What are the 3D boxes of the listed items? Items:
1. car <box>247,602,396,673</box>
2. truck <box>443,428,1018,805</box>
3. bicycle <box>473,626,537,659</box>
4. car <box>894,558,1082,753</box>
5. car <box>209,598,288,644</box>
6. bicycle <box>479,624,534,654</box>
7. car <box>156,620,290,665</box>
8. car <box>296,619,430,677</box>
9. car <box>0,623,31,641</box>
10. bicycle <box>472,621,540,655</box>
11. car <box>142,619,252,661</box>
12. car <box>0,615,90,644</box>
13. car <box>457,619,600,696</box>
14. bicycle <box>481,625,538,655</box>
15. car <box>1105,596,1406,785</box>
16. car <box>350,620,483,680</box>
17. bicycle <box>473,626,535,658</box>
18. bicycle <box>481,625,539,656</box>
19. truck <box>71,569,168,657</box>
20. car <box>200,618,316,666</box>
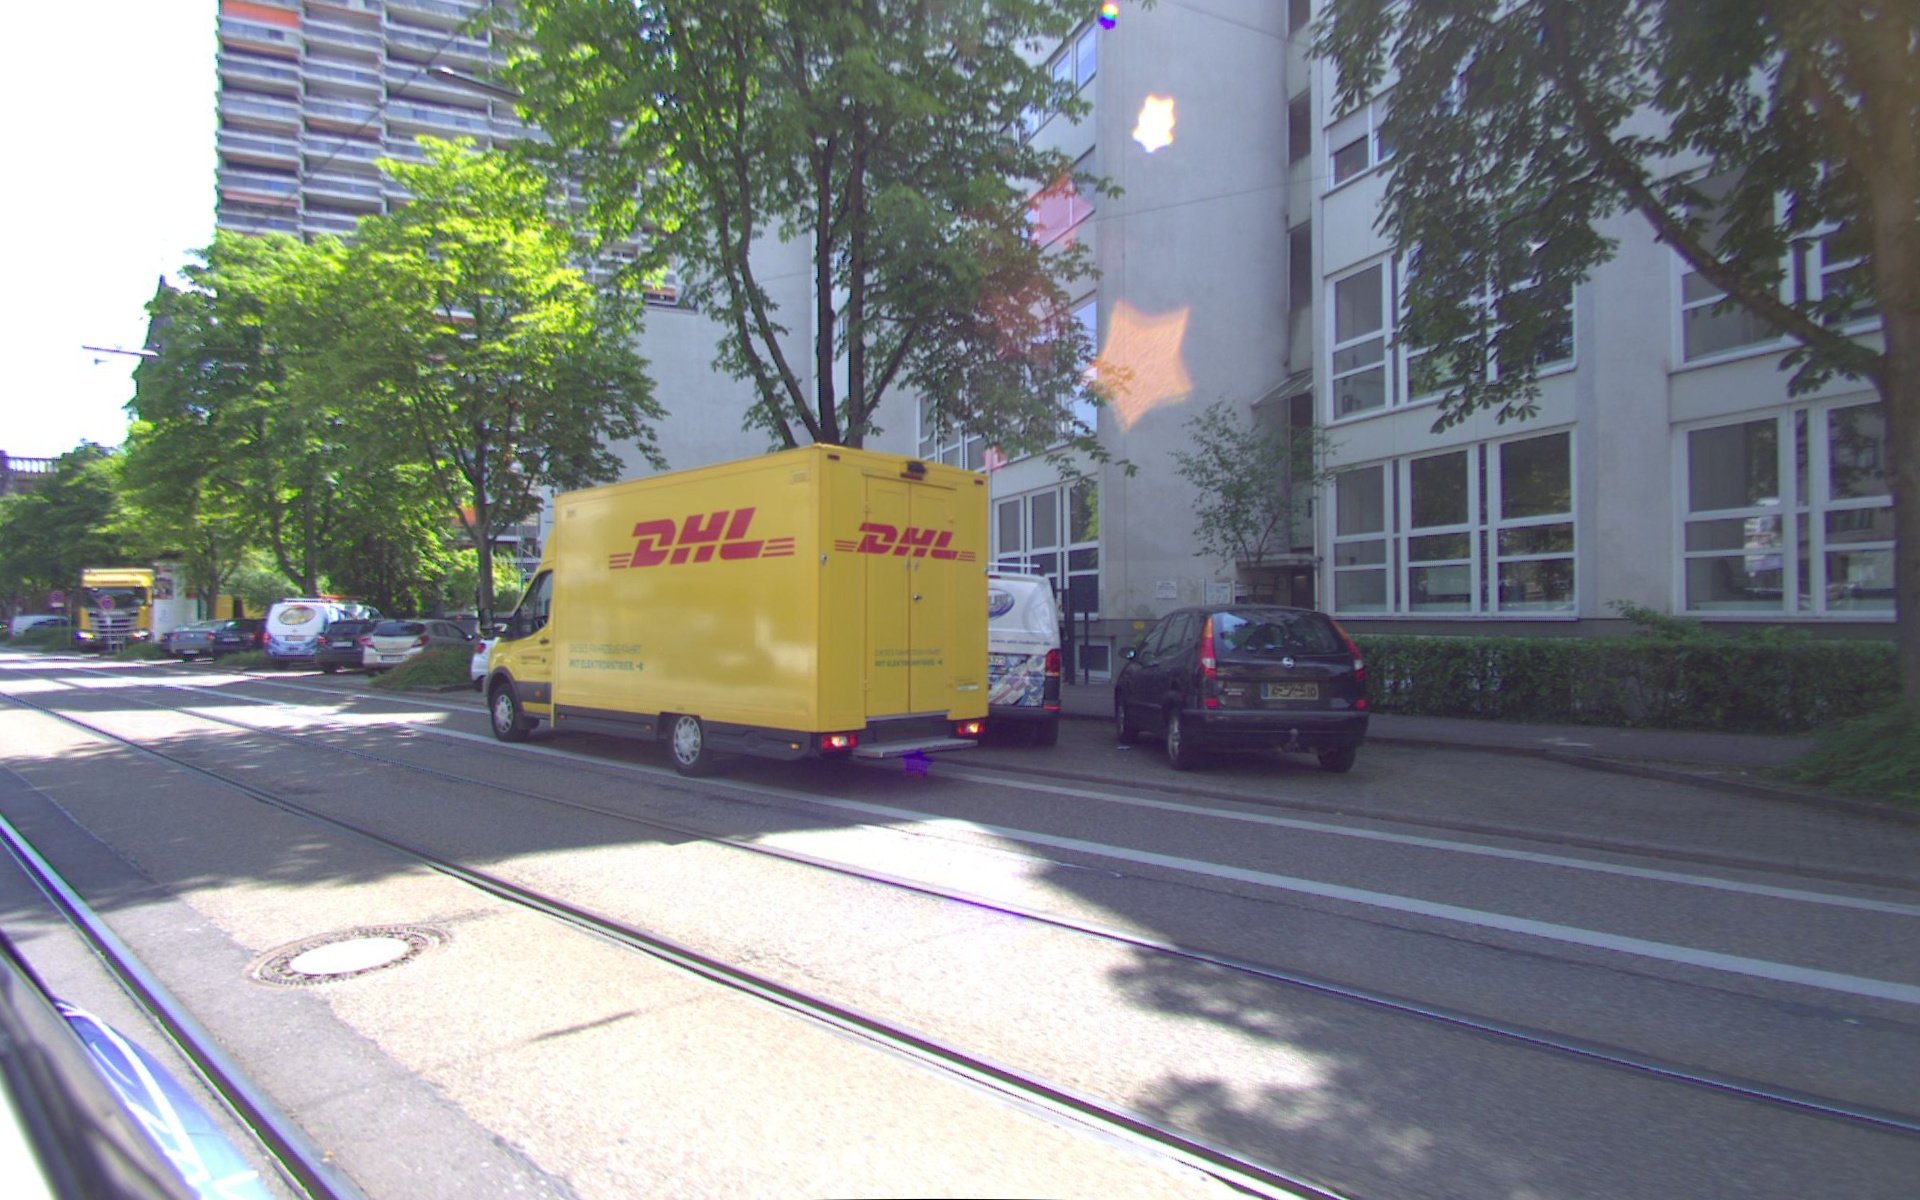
[{"bbox_3d":[-19.124,1.132,30.599,1.892,1.949,4.763,1,-2,-7],"label":"car"},{"bbox_3d":[-2.966,0.227,11.079,7.376,2.874,2.335,-2,-2,42],"label":"truck"},{"bbox_3d":[-16.704,1.544,37.177,2.099,1.083,0.559,-2,0,-24],"label":"bicycle"},{"bbox_3d":[0.359,0.672,13.198,1.999,2.078,4.759,0,-2,2],"label":"car"},{"bbox_3d":[-42.638,1.170,60.846,2.147,2.585,6.746,-1,1,-19],"label":"car"},{"bbox_3d":[-18.268,1.569,40.815,1.983,1.083,0.559,-2,0,-24],"label":"bicycle"},{"bbox_3d":[-26.656,1.520,36.804,1.848,1.518,4.203,0,-2,-1],"label":"car"},{"bbox_3d":[-16.570,1.319,28.319,1.790,1.518,3.713,1,-2,-5],"label":"car"},{"bbox_3d":[-87.429,2.942,91.503,1.981,1.578,4.762,-1,-1,12],"label":"car"},{"bbox_3d":[-15.778,1.323,35.208,2.099,1.083,0.559,-2,0,-24],"label":"bicycle"},{"bbox_3d":[-29.282,1.520,38.985,1.735,1.518,3.714,0,-2,-6],"label":"car"},{"bbox_3d":[-63.095,1.994,69.808,1.879,1.804,4.537,-2,0,8],"label":"car"},{"bbox_3d":[-9.084,1.204,21.665,1.735,1.444,4.006,2,-3,-7],"label":"car"},{"bbox_3d":[-17.511,1.554,39.390,1.983,1.083,0.559,-2,0,-24],"label":"bicycle"},{"bbox_3d":[2.826,0.849,10.668,1.721,1.612,3.923,0,-2,-5],"label":"car"},{"bbox_3d":[-14.292,1.299,26.835,1.736,1.478,3.713,1,-2,-5],"label":"car"},{"bbox_3d":[-17.026,1.558,37.820,2.099,1.083,0.559,-2,0,-24],"label":"bicycle"},{"bbox_3d":[-17.250,1.551,38.824,1.983,1.083,0.559,-2,0,-24],"label":"bicycle"},{"bbox_3d":[-40.889,0.578,49.561,2.679,3.870,10.991,-2,1,-35],"label":"truck"},{"bbox_3d":[-24.127,1.439,34.941,1.666,1.555,3.713,0,-2,-5],"label":"car"}]
